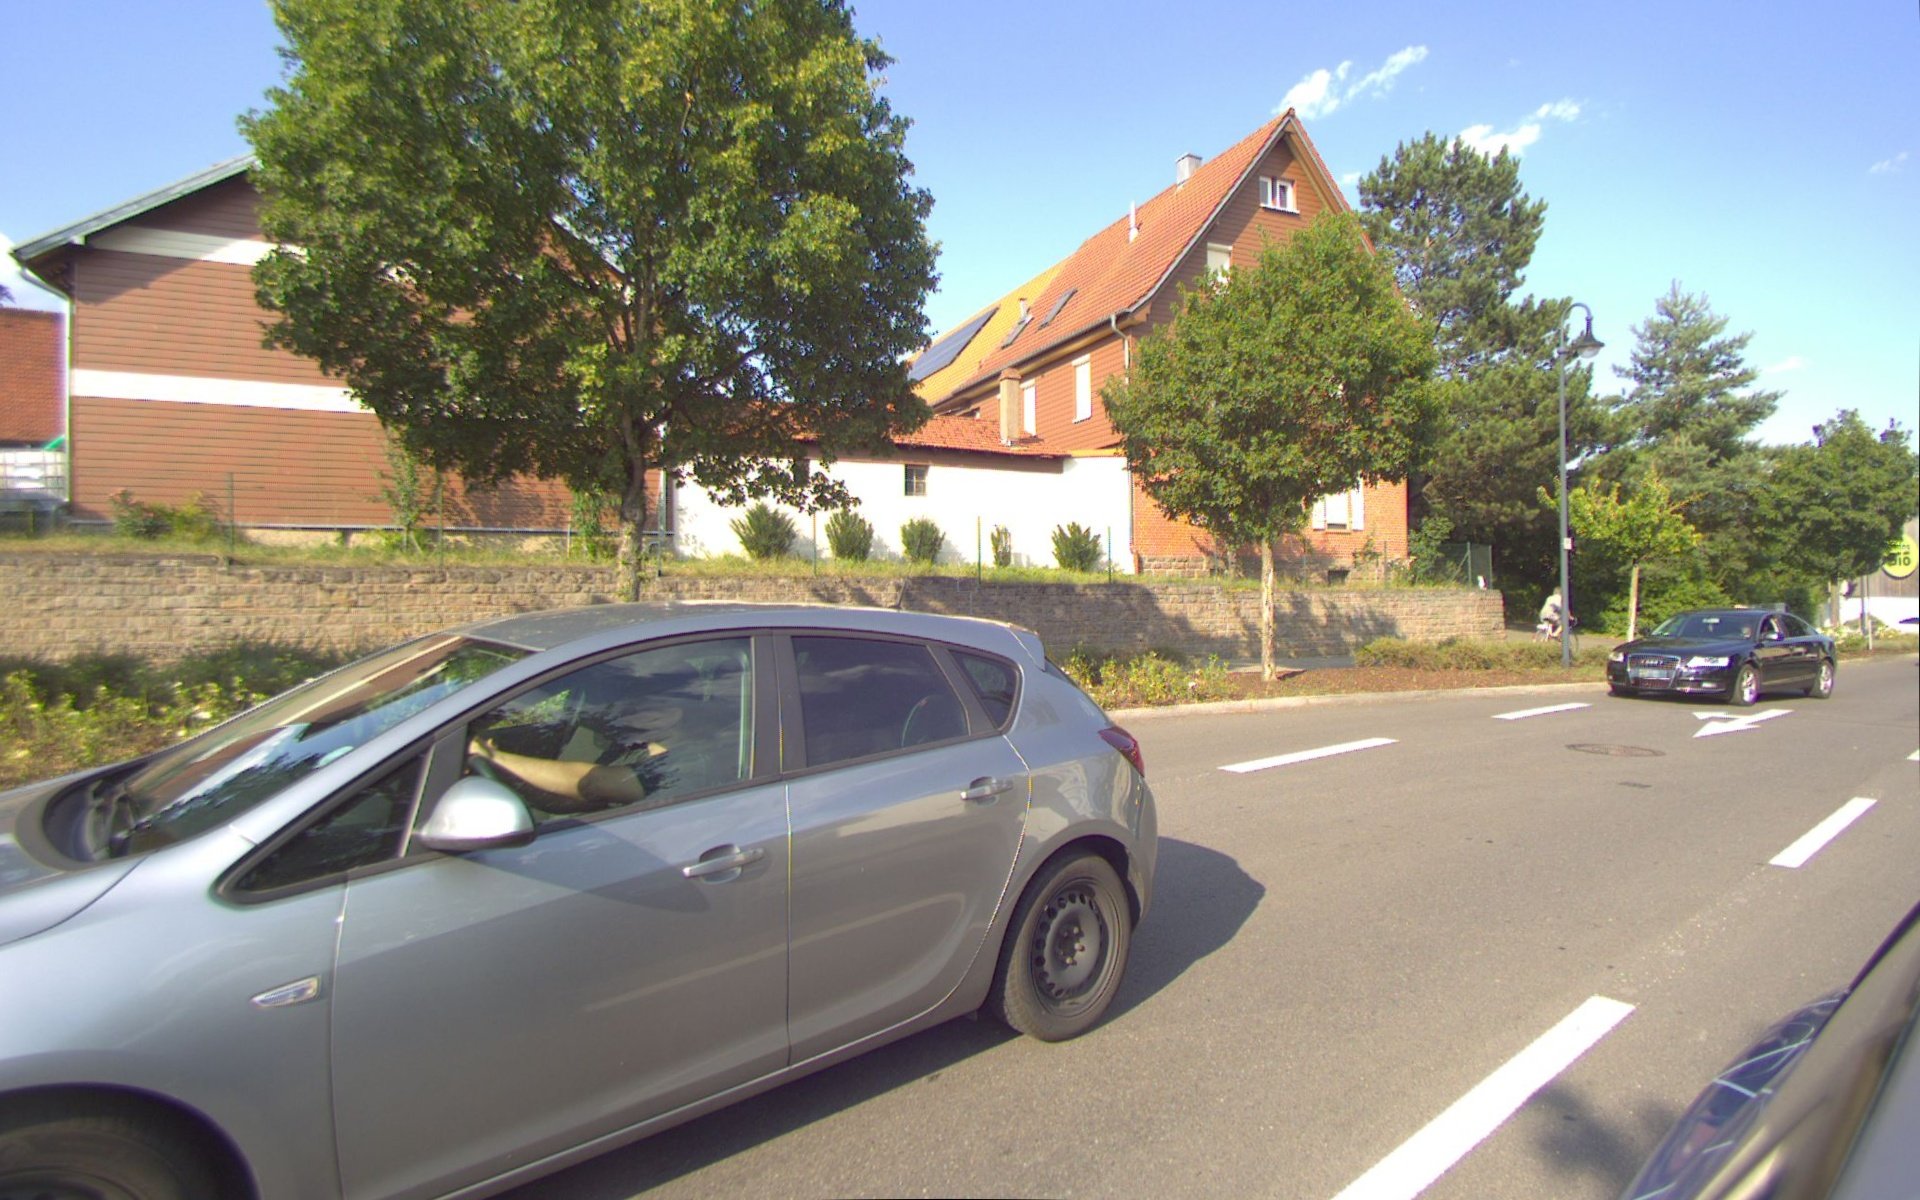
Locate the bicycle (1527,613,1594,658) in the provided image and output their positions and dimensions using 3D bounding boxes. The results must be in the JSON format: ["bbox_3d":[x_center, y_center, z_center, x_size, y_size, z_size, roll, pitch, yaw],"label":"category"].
[{"bbox_3d":[14.575,0.855,24.554,1.838,1.031,0.523,0,0,-29],"label":"bicycle"}]

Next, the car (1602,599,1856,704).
[{"bbox_3d":[12.344,0.727,16.175,4.498,1.453,1.688,0,0,-31],"label":"car"}]

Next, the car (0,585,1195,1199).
[{"bbox_3d":[-1.230,0.699,3.059,4.095,1.460,1.746,0,0,-41],"label":"car"}]

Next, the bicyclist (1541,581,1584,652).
[{"bbox_3d":[14.661,0.382,24.618,0.719,1.699,0.605,0,-1,-28],"label":"bicyclist"}]
